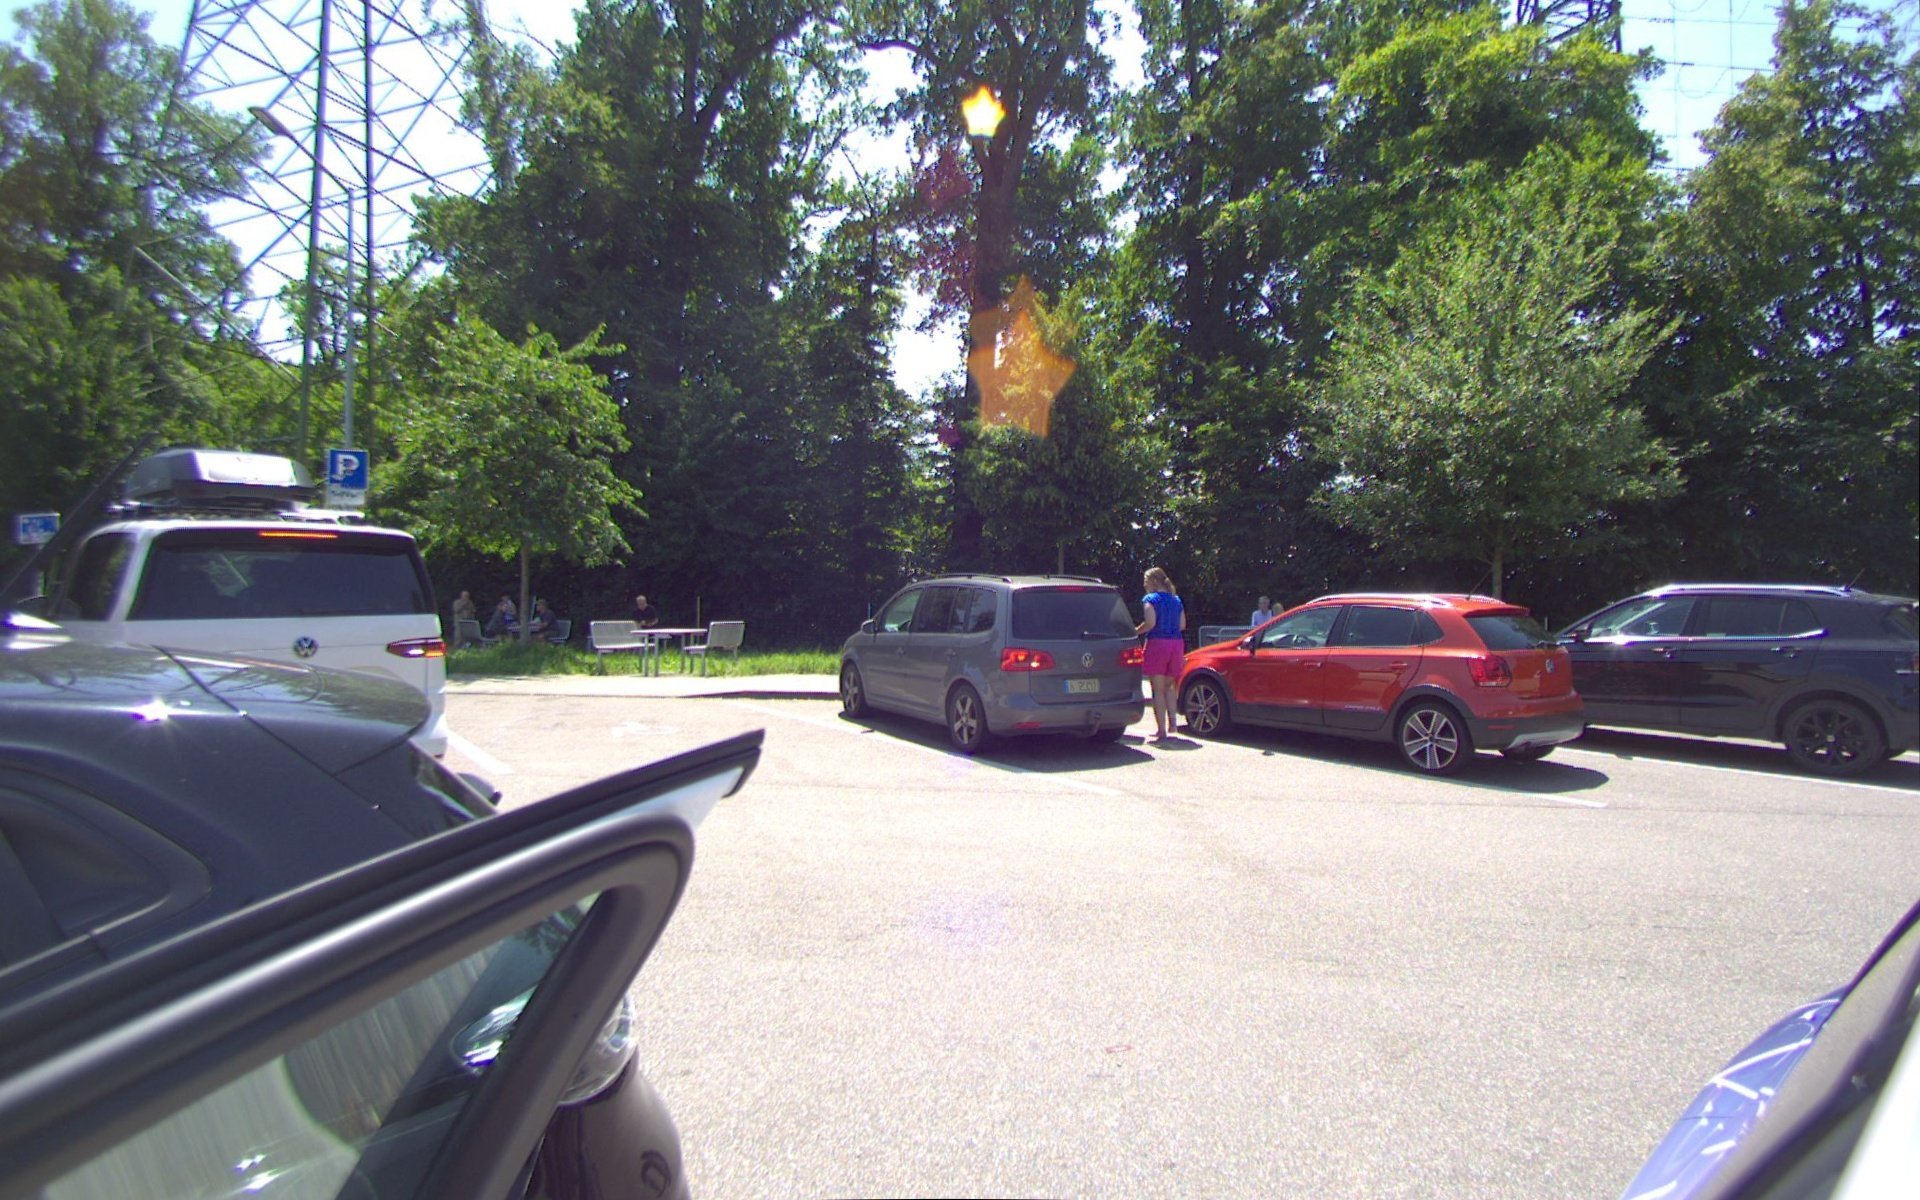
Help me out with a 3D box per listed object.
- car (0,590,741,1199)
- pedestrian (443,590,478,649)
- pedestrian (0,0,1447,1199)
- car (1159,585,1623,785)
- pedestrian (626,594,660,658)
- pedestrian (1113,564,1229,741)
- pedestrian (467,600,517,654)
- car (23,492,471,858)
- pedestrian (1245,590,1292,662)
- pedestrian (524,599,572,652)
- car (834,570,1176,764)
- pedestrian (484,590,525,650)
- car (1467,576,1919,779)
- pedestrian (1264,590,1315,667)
[{"bbox_3d":[-2.217,0.722,0.591,1.737,1.501,3.757,0,0,44],"label":"car"},{"bbox_3d":[-12.334,0.466,24.980,0.657,1.422,0.649,0,0,-39],"label":"pedestrian"},{"bbox_3d":[-0.208,0.541,0.645,0.874,1.865,0.621,0,0,-38],"label":"pedestrian"},{"bbox_3d":[3.840,0.611,9.640,1.687,1.484,3.793,0,1,-32],"label":"car"},{"bbox_3d":[-6.643,0.525,21.256,0.655,1.311,0.786,0,0,-16],"label":"pedestrian"},{"bbox_3d":[2.142,0.497,10.286,0.902,1.703,0.734,0,0,-36],"label":"pedestrian"},{"bbox_3d":[-10.530,0.591,22.763,0.873,1.192,0.668,0,0,-41],"label":"pedestrian"},{"bbox_3d":[-5.549,0.355,7.605,4.548,1.936,1.882,1,1,43],"label":"car"},{"bbox_3d":[5.773,0.478,18.968,0.657,1.311,0.783,0,0,3],"label":"pedestrian"},{"bbox_3d":[-9.614,0.579,23.617,0.873,1.192,0.668,0,0,-41],"label":"pedestrian"},{"bbox_3d":[0.240,0.519,10.510,1.713,1.601,3.996,0,1,-29],"label":"car"},{"bbox_3d":[-11.033,0.466,24.528,0.664,1.422,0.643,0,0,32],"label":"pedestrian"},{"bbox_3d":[7.167,0.576,9.699,1.690,1.593,3.787,0,1,-39],"label":"car"},{"bbox_3d":[5.767,0.489,17.746,0.657,1.311,0.783,0,0,3],"label":"pedestrian"}]
